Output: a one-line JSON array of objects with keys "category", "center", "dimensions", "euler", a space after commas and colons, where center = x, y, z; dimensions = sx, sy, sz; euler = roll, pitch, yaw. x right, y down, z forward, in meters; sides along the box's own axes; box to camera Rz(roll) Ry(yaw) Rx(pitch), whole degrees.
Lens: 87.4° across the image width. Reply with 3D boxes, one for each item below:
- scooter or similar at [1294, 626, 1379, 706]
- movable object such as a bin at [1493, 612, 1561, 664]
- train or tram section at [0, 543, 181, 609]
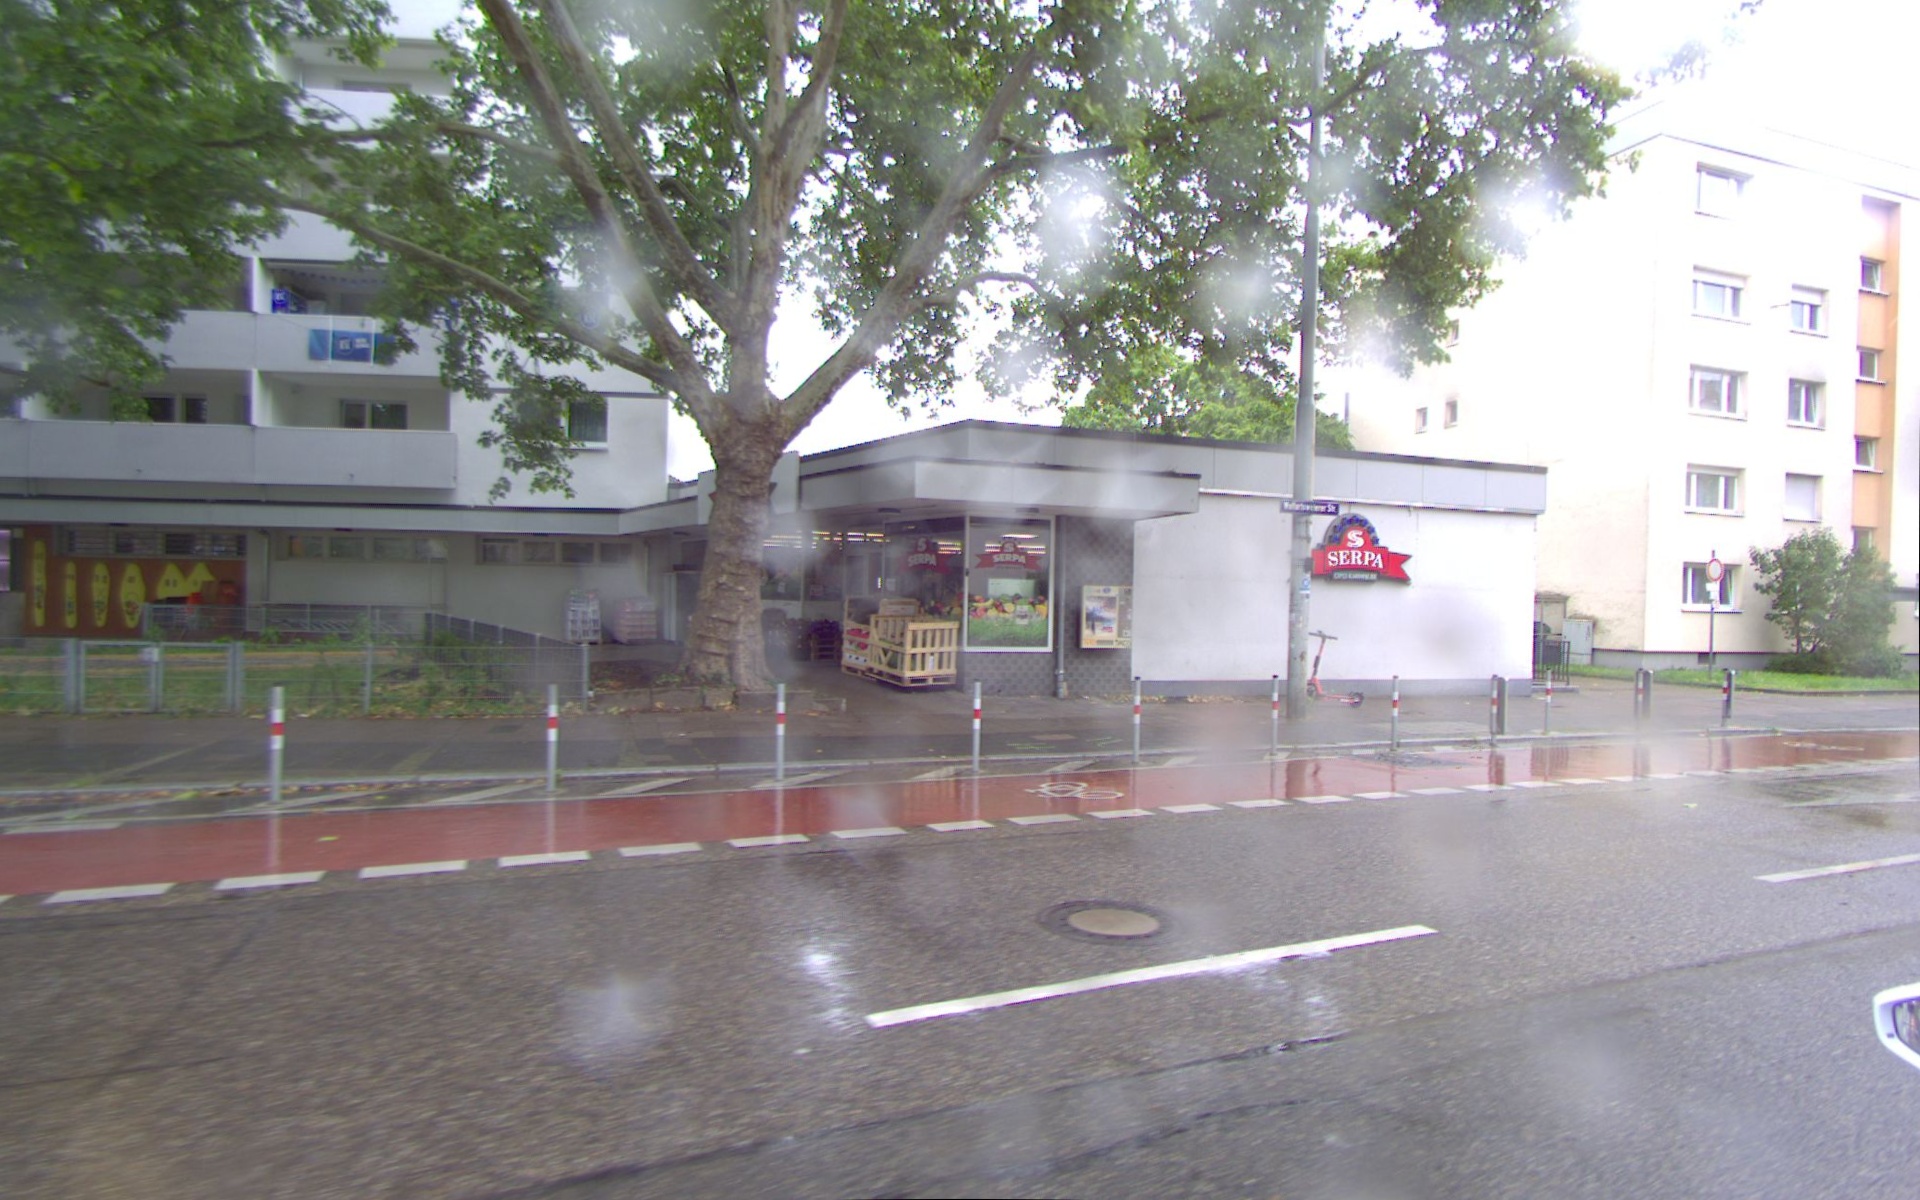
[{"category": "scooter or similar", "center": [6.291, 1.096, 16.781], "dimensions": [1.354, 1.283, 0.437], "euler": [1, 0, -20]}, {"category": "movable object such as a bin", "center": [17.224, 1.146, 30.550], "dimensions": [1.184, 1.495, 1.327], "euler": [1, 0, -22]}, {"category": "train or tram section", "center": [-52.258, -1.290, 59.867], "dimensions": [3.013, 3.551, 11.573], "euler": [1, 0, -2]}]
